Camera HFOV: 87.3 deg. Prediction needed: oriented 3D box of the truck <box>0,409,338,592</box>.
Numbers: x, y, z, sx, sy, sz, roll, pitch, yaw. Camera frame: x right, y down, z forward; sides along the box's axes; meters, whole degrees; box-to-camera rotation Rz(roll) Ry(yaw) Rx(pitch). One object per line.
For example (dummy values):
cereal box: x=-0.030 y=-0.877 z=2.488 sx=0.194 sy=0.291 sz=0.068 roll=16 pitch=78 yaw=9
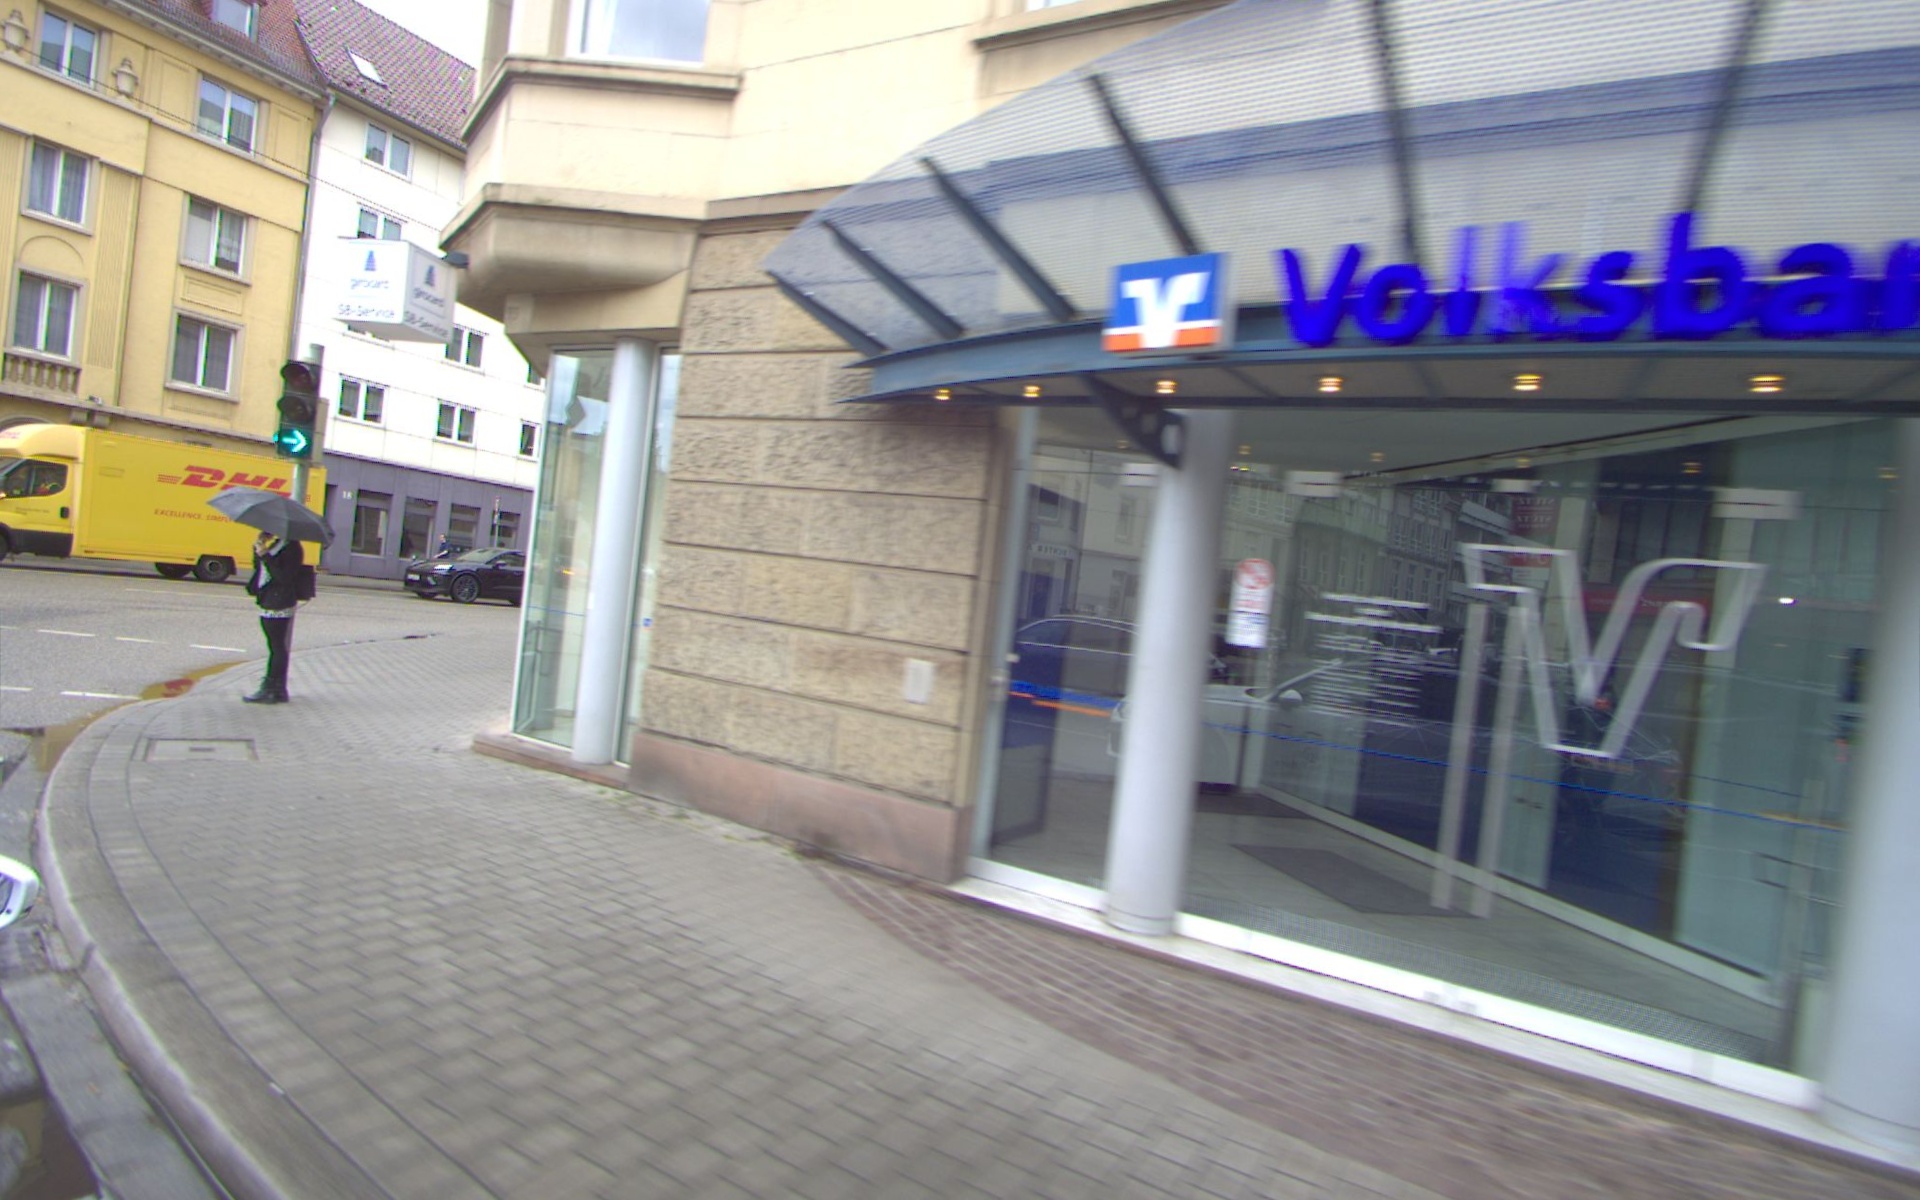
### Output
truck: x=-17.323 y=-1.967 z=20.996 sx=2.047 sy=2.886 sz=7.104 roll=6 pitch=-1 yaw=29

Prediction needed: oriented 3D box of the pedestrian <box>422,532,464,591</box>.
pedestrian: x=-17.153 y=-1.265 z=33.374 sx=0.750 sy=1.813 sz=0.791 roll=7 pitch=0 yaw=30

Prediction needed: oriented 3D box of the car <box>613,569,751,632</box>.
car: x=-9.591 y=0.057 z=35.051 sx=1.917 sy=1.705 sz=4.404 roll=7 pitch=0 yaw=31

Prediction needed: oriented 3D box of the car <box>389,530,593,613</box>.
car: x=-13.008 y=-0.739 z=28.247 sx=1.966 sy=1.705 sz=4.819 roll=7 pitch=0 yaw=29

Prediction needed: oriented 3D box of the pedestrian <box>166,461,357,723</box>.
pedestrian: x=-5.682 y=-0.056 z=8.244 sx=1.050 sy=1.927 sz=1.015 roll=7 pitch=1 yaw=-34
